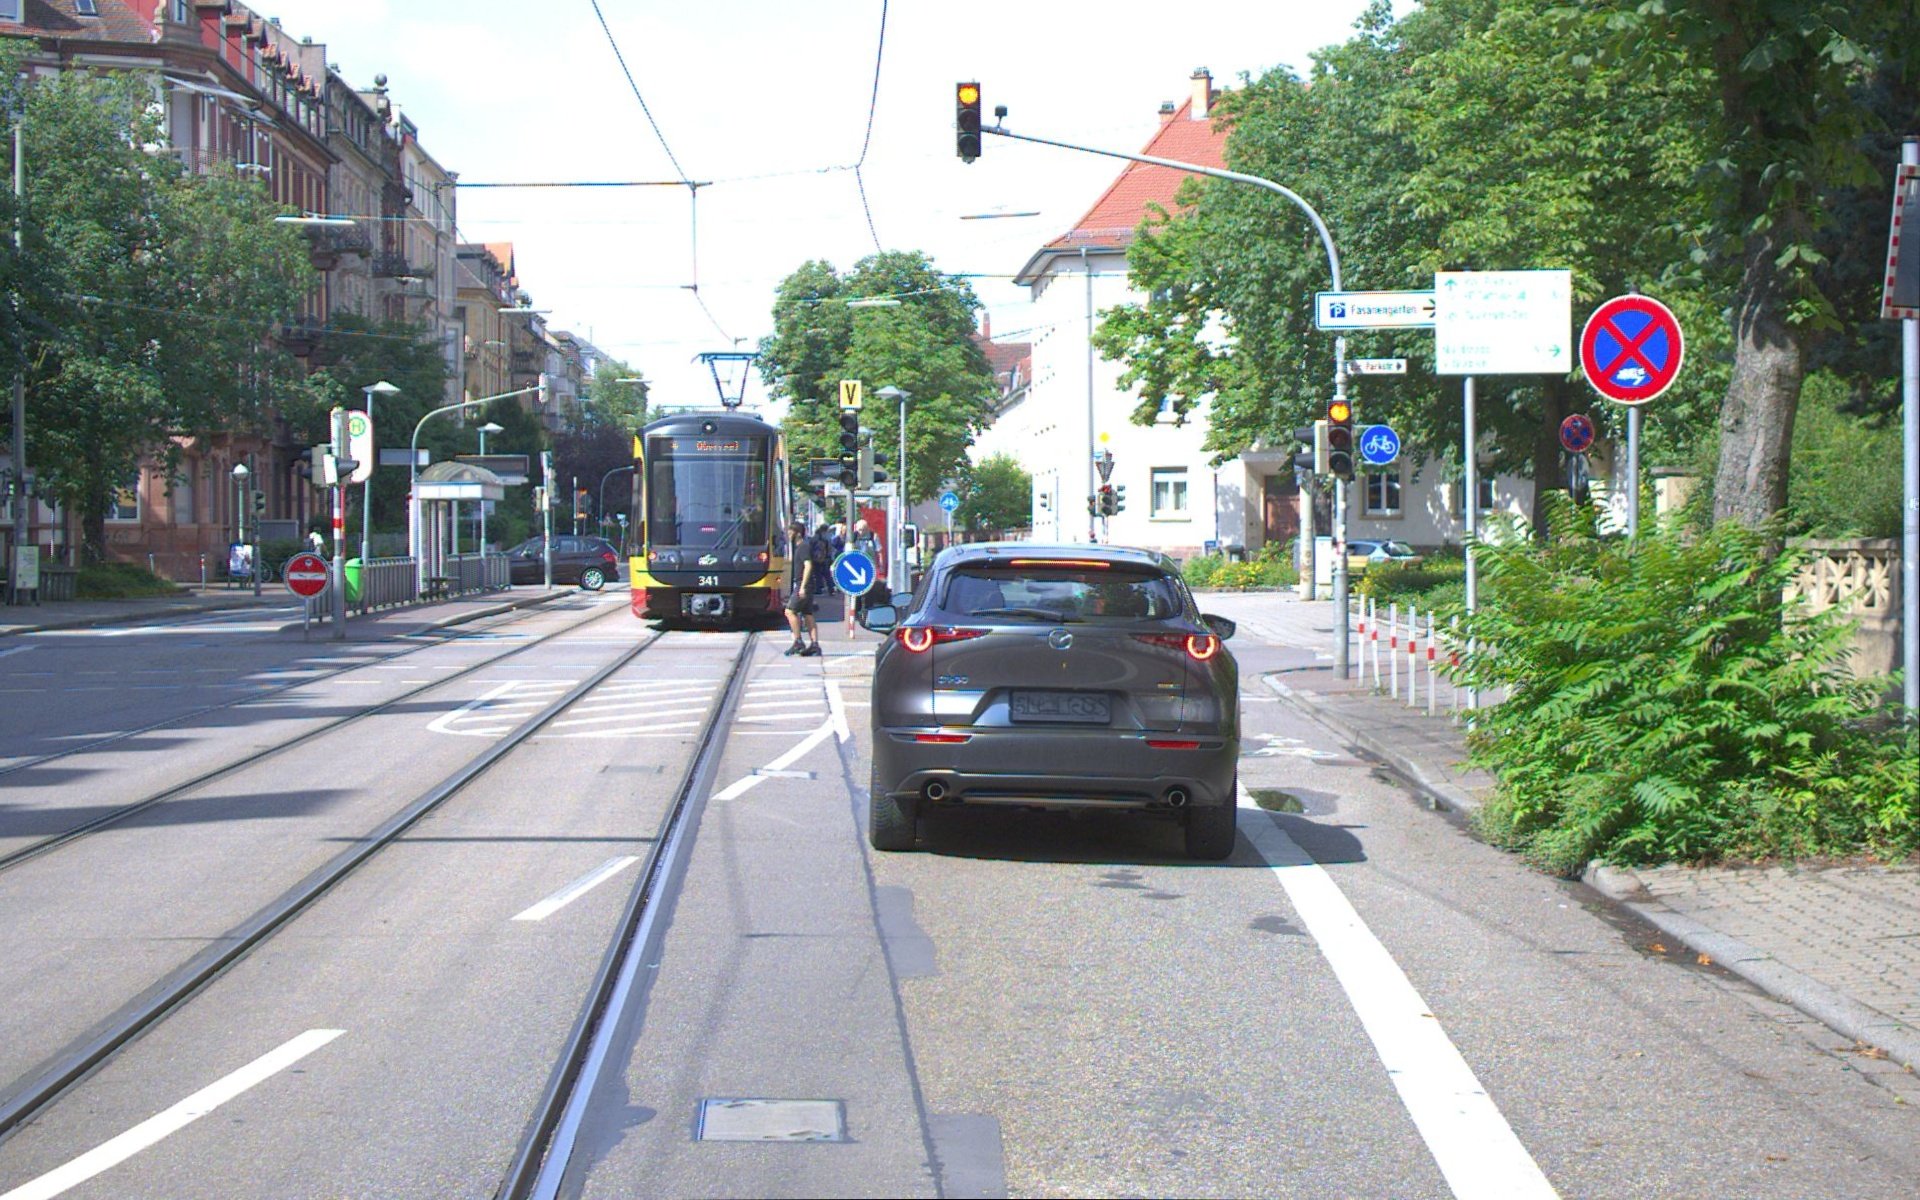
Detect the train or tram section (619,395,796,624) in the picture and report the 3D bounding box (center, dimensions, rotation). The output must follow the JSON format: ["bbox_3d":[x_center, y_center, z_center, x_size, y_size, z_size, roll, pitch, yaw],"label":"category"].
[{"bbox_3d":[-4.334,-1.466,57.662,2.651,3.515,8.498,-1,1,-6],"label":"train or tram section"}]

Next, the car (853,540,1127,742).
[{"bbox_3d":[0.160,0.268,28.653,1.784,1.487,4.884,-1,1,-5],"label":"car"}]

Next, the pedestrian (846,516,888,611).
[{"bbox_3d":[-1.576,-0.620,58.151,0.667,1.599,0.700,0,1,-4],"label":"pedestrian"}]

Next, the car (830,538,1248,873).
[{"bbox_3d":[0.287,0.454,18.117,1.789,1.507,4.351,1,1,-4],"label":"car"}]

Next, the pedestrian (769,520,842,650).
[{"bbox_3d":[-1.927,-0.193,42.810,0.874,1.599,0.632,0,1,-5],"label":"pedestrian"}]

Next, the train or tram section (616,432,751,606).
[{"bbox_3d":[-6.080,-1.709,74.597,2.651,3.515,8.498,-1,1,-6],"label":"train or tram section"}]

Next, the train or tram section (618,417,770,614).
[{"bbox_3d":[-5.212,-1.582,66.154,2.651,3.515,8.498,-1,1,-6],"label":"train or tram section"}]
